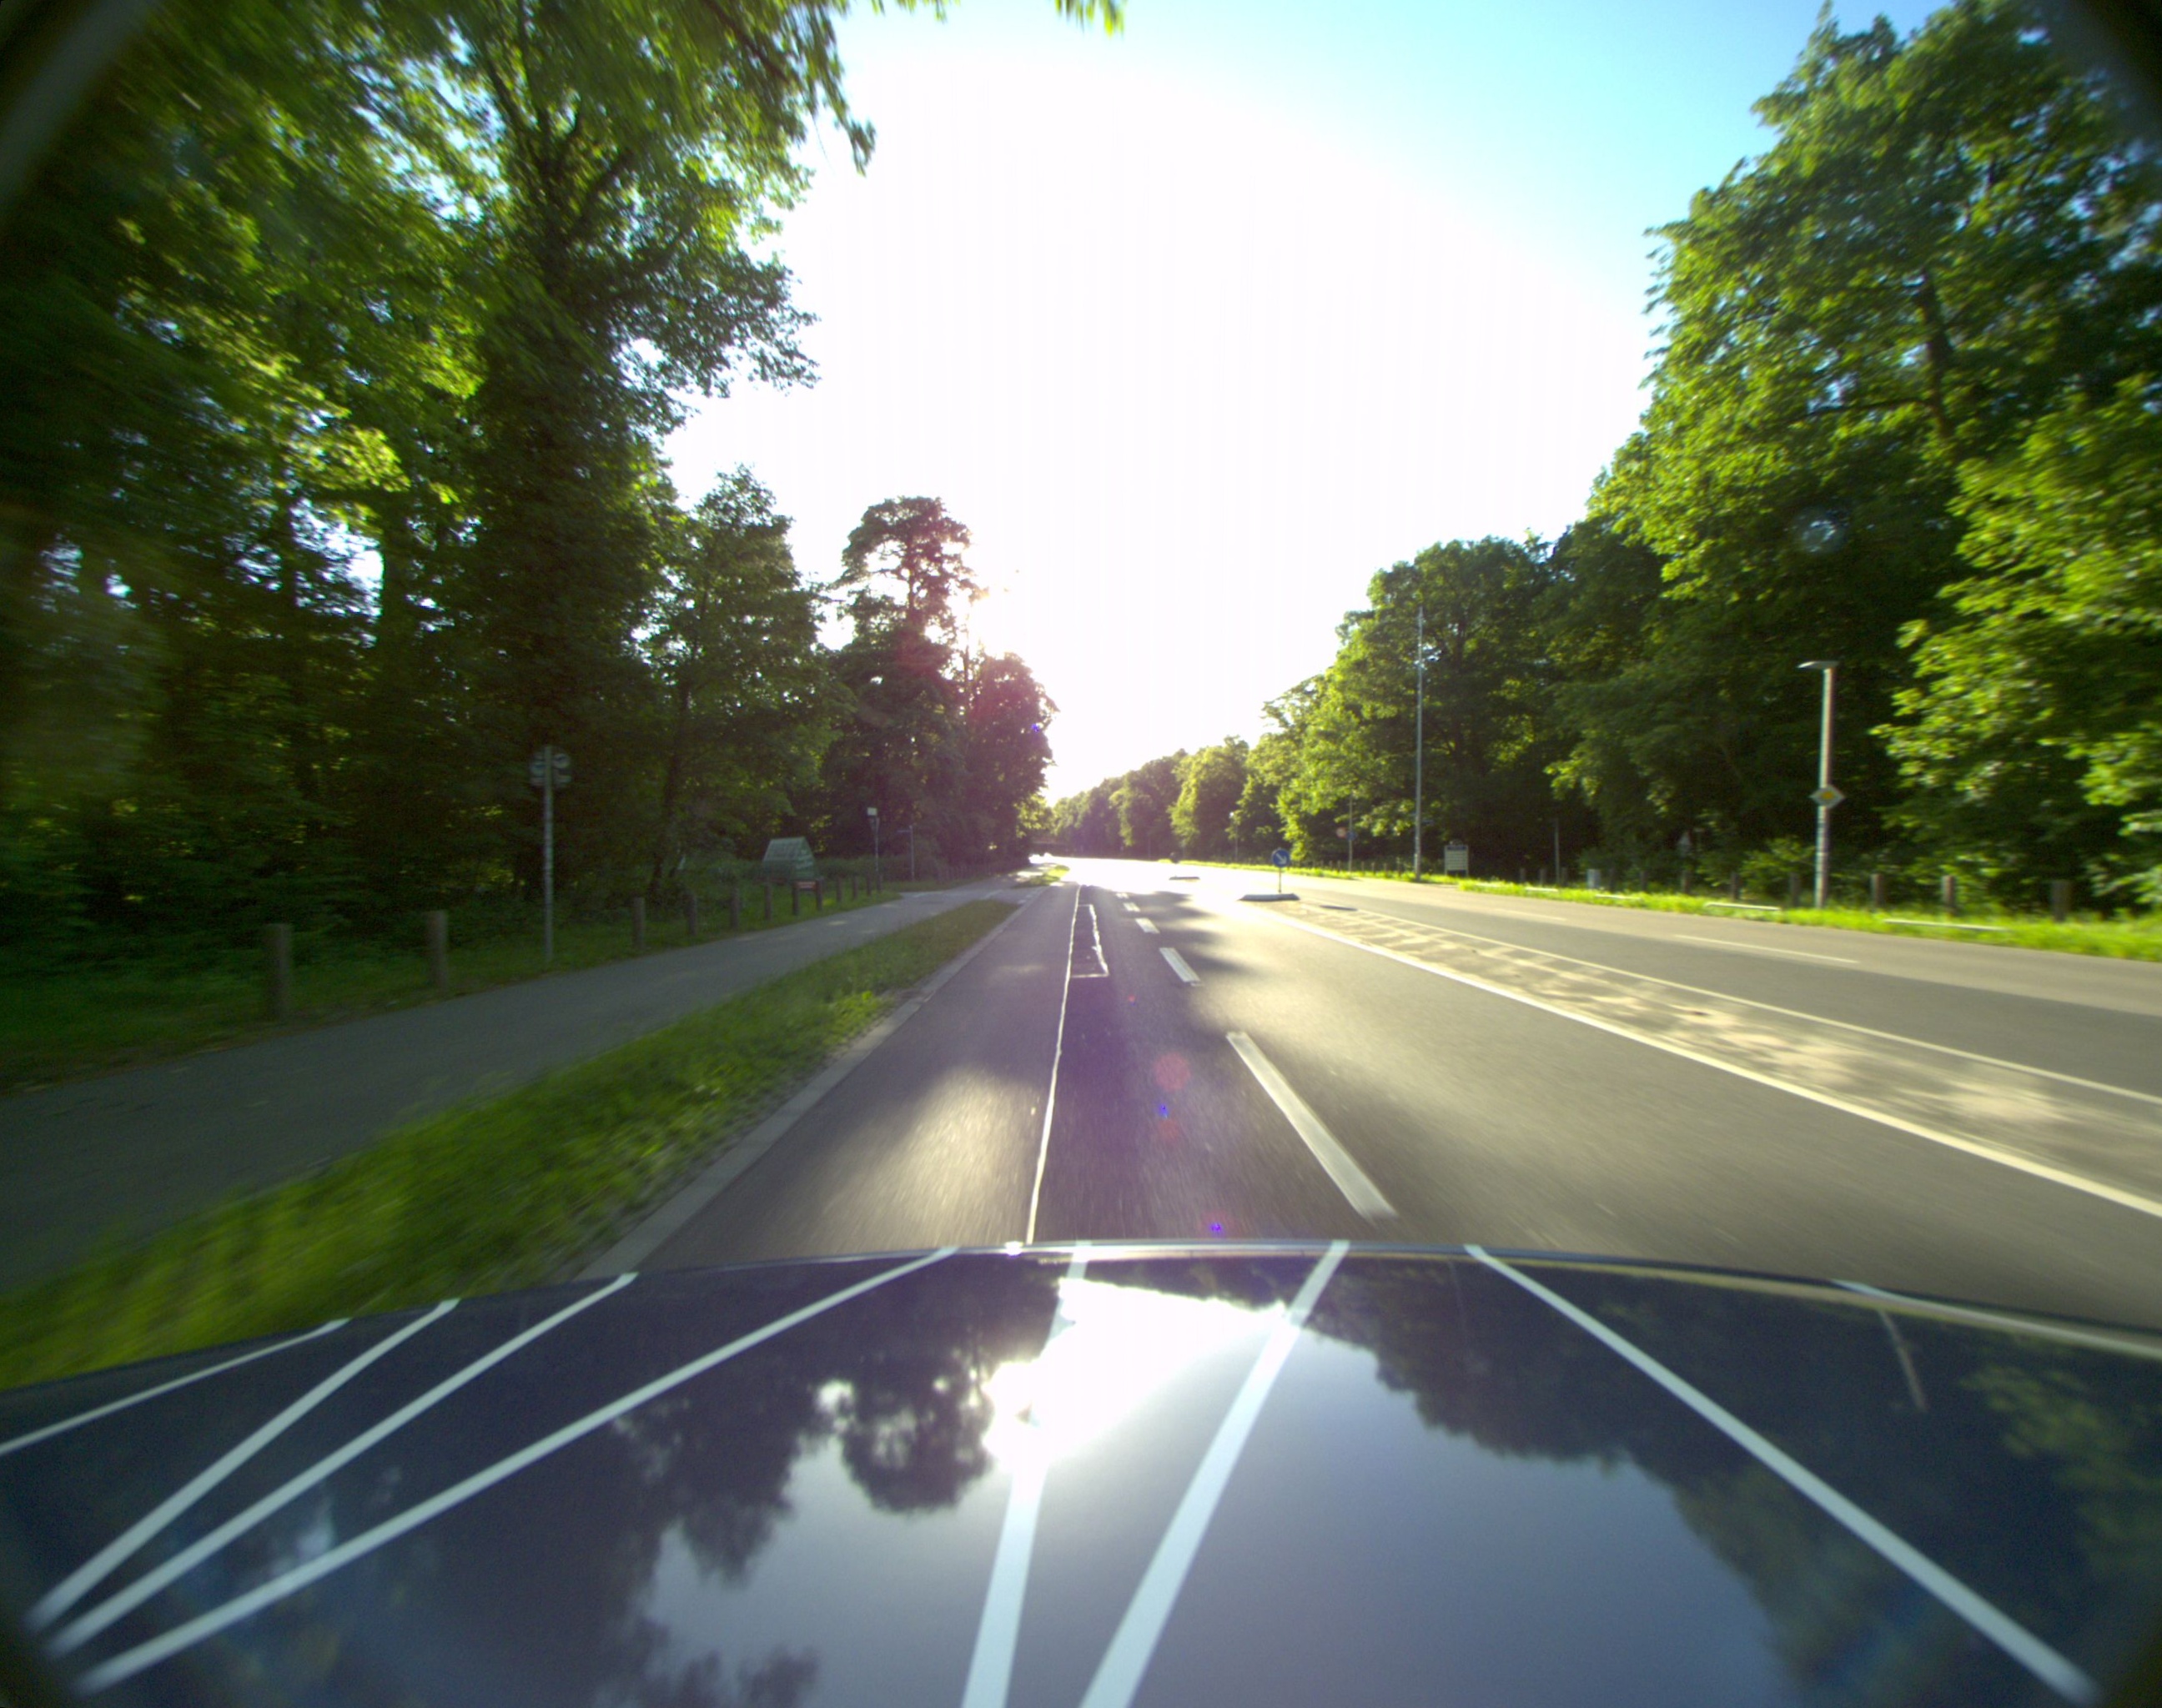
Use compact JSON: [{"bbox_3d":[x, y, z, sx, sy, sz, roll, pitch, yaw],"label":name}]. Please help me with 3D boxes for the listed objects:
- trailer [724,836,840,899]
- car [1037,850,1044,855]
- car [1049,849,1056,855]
[{"bbox_3d":[-10.414,0.425,26.341,4.215,2.010,2.004,0,1,42],"label":"trailer"},{"bbox_3d":[-13.588,-0.458,253.735,1.828,1.674,3.996,-1,0,-10],"label":"car"},{"bbox_3d":[-8.277,-0.548,220.898,1.827,1.674,3.998,-1,0,-5],"label":"car"}]
